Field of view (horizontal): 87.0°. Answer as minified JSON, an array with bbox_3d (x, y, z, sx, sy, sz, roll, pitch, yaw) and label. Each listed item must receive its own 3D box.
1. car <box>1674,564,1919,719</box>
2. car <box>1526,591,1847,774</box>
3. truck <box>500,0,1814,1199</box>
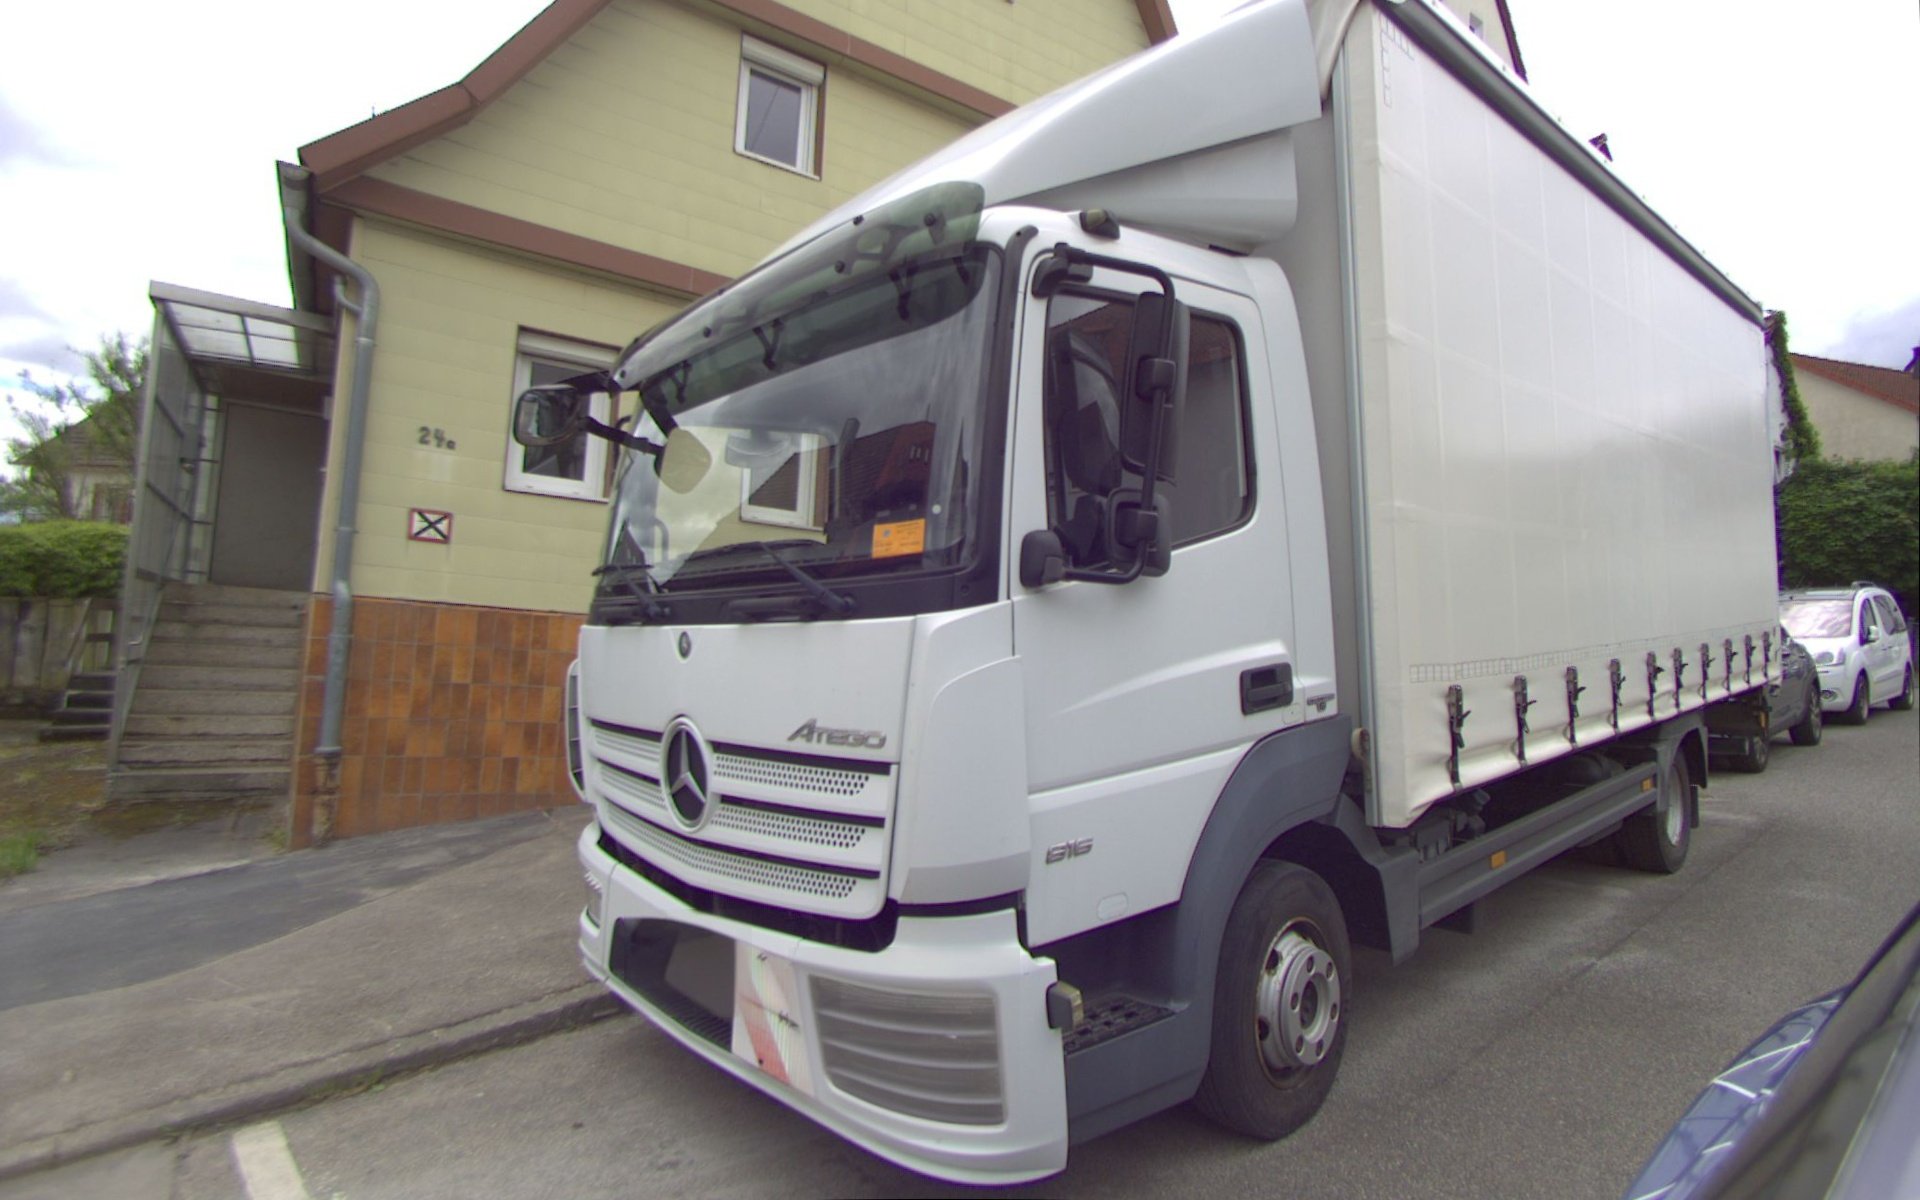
[{"bbox_3d":[11.775,0.539,13.989,4.224,1.838,1.839,0,-3,-37],"label":"car"},{"bbox_3d":[7.616,0.723,10.479,3.980,1.526,1.735,-1,-3,-40],"label":"car"},{"bbox_3d":[2.102,-0.318,5.473,7.966,3.644,2.679,0,-2,-42],"label":"truck"}]
